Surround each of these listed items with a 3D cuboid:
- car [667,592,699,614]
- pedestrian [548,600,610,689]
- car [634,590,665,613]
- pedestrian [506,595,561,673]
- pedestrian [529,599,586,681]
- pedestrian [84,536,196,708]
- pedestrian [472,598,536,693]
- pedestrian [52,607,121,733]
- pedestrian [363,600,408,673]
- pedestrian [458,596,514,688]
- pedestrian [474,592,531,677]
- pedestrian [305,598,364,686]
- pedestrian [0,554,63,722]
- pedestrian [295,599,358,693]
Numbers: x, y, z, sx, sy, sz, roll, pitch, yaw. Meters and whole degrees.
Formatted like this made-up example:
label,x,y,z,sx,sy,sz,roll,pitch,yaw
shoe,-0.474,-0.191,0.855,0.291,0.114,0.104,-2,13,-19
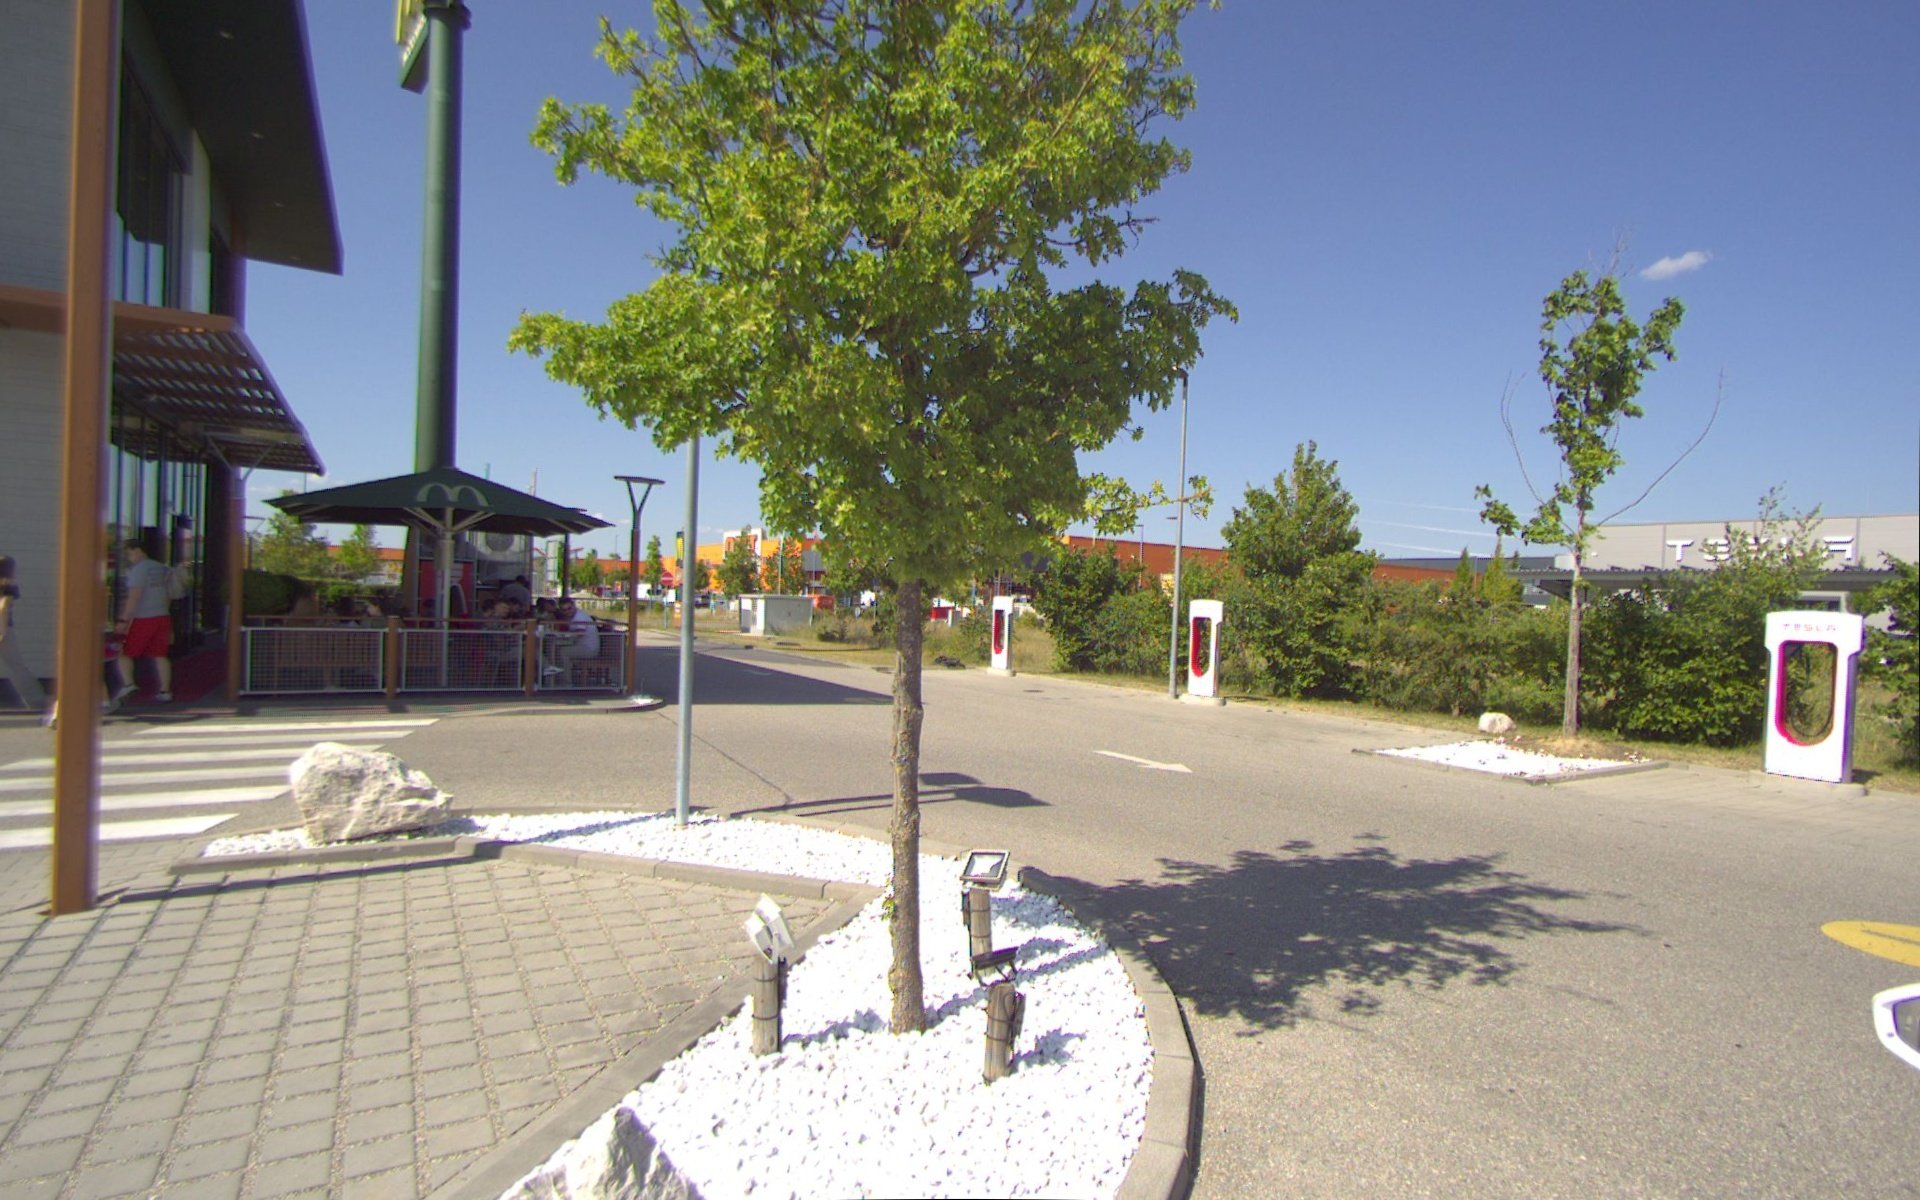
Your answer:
label,x,y,z,sx,sy,sz,roll,pitch,yaw
car,-27.186,0.264,98.489,1.977,2.040,3.968,3,-1,-30
pedestrian,-5.611,0.645,14.786,0.722,1.274,0.567,2,0,-35
car,-29.851,0.121,96.439,1.977,2.040,3.968,3,-1,-30
pedestrian,-7.149,0.560,16.834,0.722,1.274,0.567,2,0,-35
pedestrian,-6.423,0.629,16.023,0.722,1.274,0.567,2,0,-35
pedestrian,-9.009,0.235,11.068,0.889,1.791,0.794,2,0,-39
pedestrian,-6.323,0.623,13.918,0.708,1.274,0.519,2,0,-34
pedestrian,-8.628,0.675,9.937,0.444,1.202,0.486,1,0,-36
pedestrian,-8.987,0.562,15.712,0.567,1.115,0.651,2,0,-31
pedestrian,-6.779,0.595,14.362,0.628,1.274,0.519,2,0,-34
pedestrian,-7.071,0.524,15.525,0.708,1.274,0.519,2,0,-34
pedestrian,-8.331,0.548,13.372,0.628,1.139,0.519,2,0,-34
pedestrian,-9.482,0.360,9.882,0.730,1.605,0.725,1,0,-20
pedestrian,-7.980,0.570,12.652,0.628,1.139,0.519,2,0,-34
